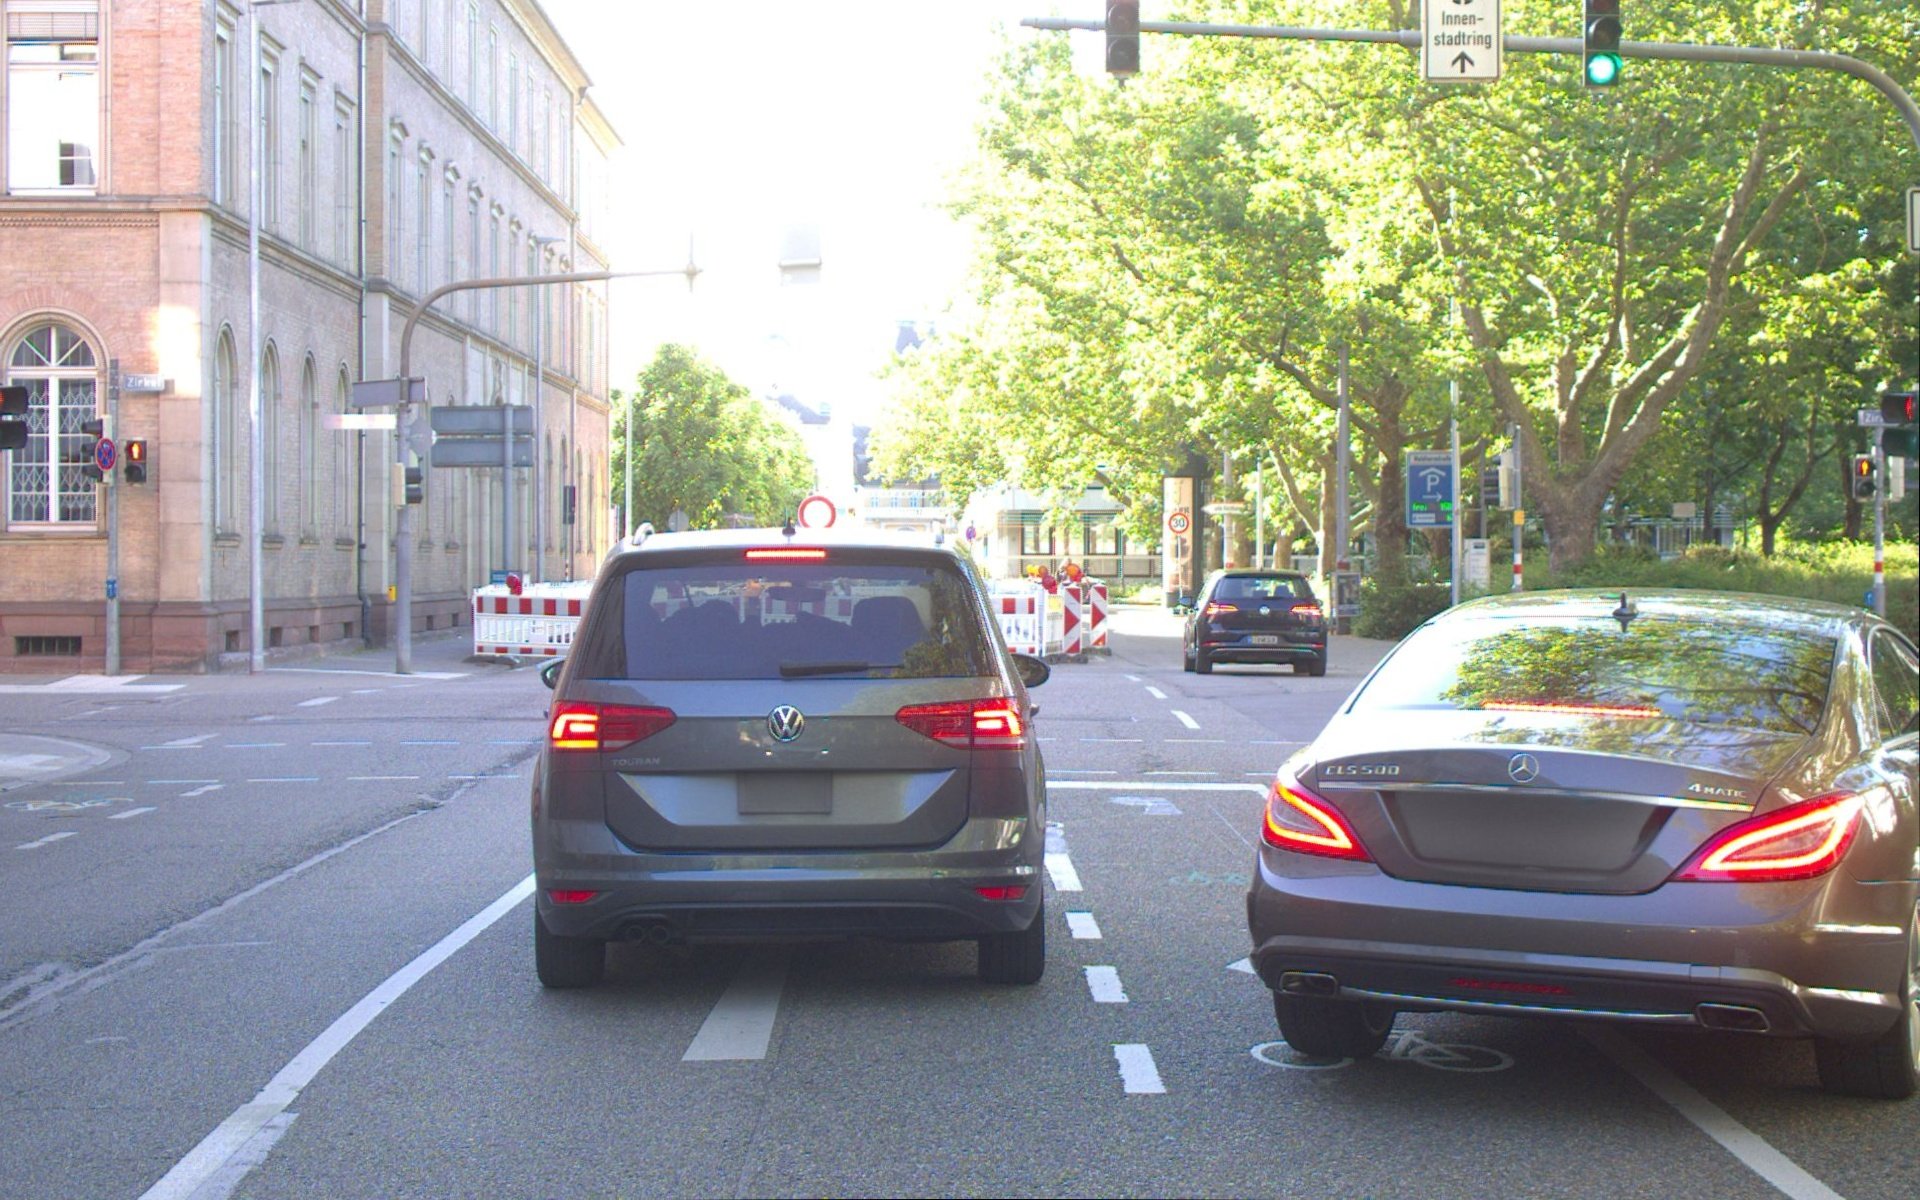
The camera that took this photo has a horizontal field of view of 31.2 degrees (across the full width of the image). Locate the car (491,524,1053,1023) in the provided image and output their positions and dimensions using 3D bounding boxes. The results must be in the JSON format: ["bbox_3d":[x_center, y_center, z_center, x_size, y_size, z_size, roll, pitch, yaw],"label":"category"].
[{"bbox_3d":[-0.573,0.545,13.104,1.809,1.607,4.000,0,0,1],"label":"car"}]

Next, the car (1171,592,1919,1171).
[{"bbox_3d":[2.308,0.701,11.069,1.845,1.424,4.512,1,0,23],"label":"car"}]

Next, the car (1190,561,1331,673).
[{"bbox_3d":[4.058,0.203,46.889,1.689,1.435,3.902,1,0,2],"label":"car"}]
